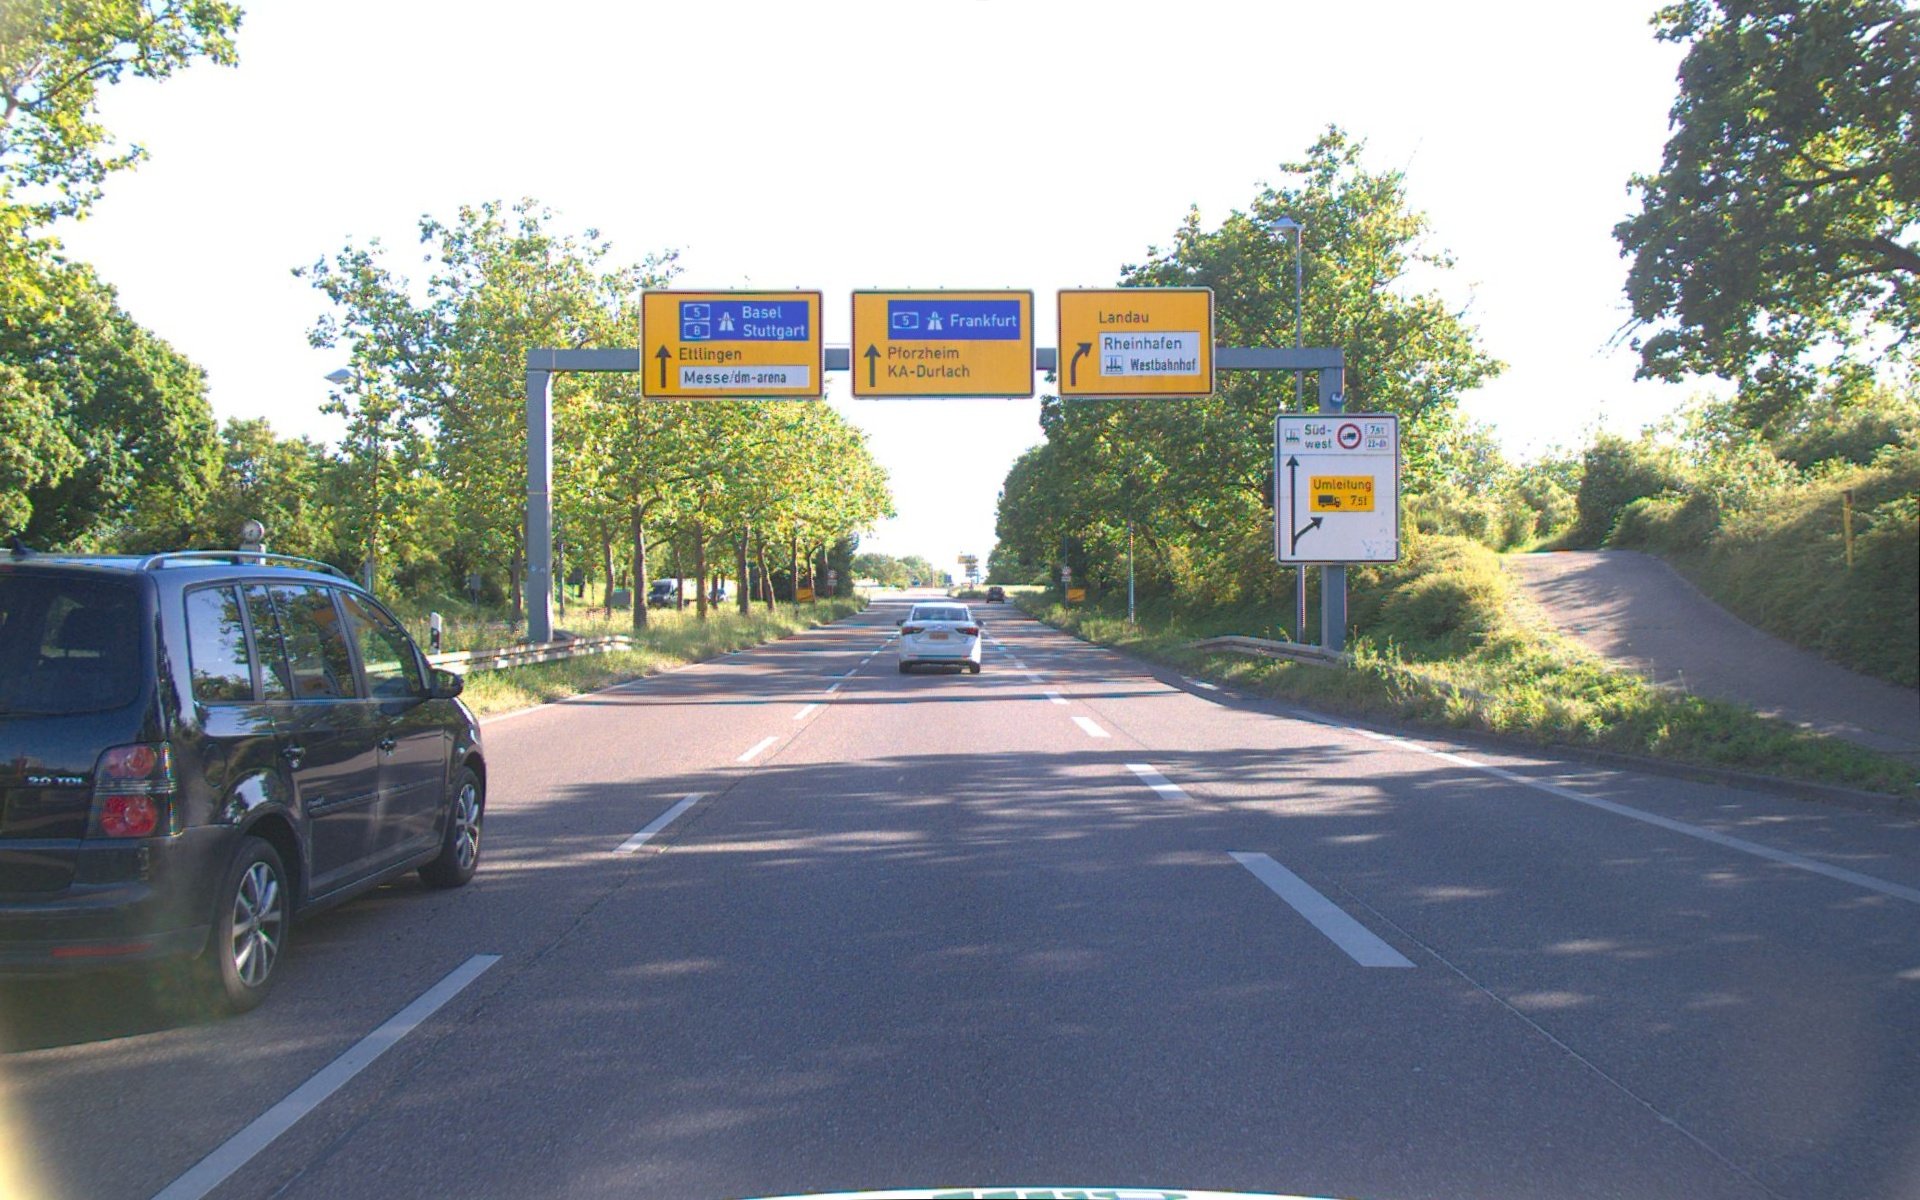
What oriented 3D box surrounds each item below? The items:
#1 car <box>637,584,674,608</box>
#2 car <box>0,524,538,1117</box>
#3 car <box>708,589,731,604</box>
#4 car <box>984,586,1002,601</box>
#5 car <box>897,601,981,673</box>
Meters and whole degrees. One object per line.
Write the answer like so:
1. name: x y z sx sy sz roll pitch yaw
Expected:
1. car: -25.289 -0.359 137.604 2.091 1.935 5.741 0 0 -1
2. car: -3.320 0.622 7.128 1.731 1.673 4.922 1 0 0
3. car: -24.233 -0.360 166.544 1.731 1.489 4.365 0 0 -1
4. car: 3.304 -0.633 164.189 1.731 1.489 4.366 0 0 1
5. car: -0.444 0.771 36.548 1.731 1.489 4.366 0 0 0
